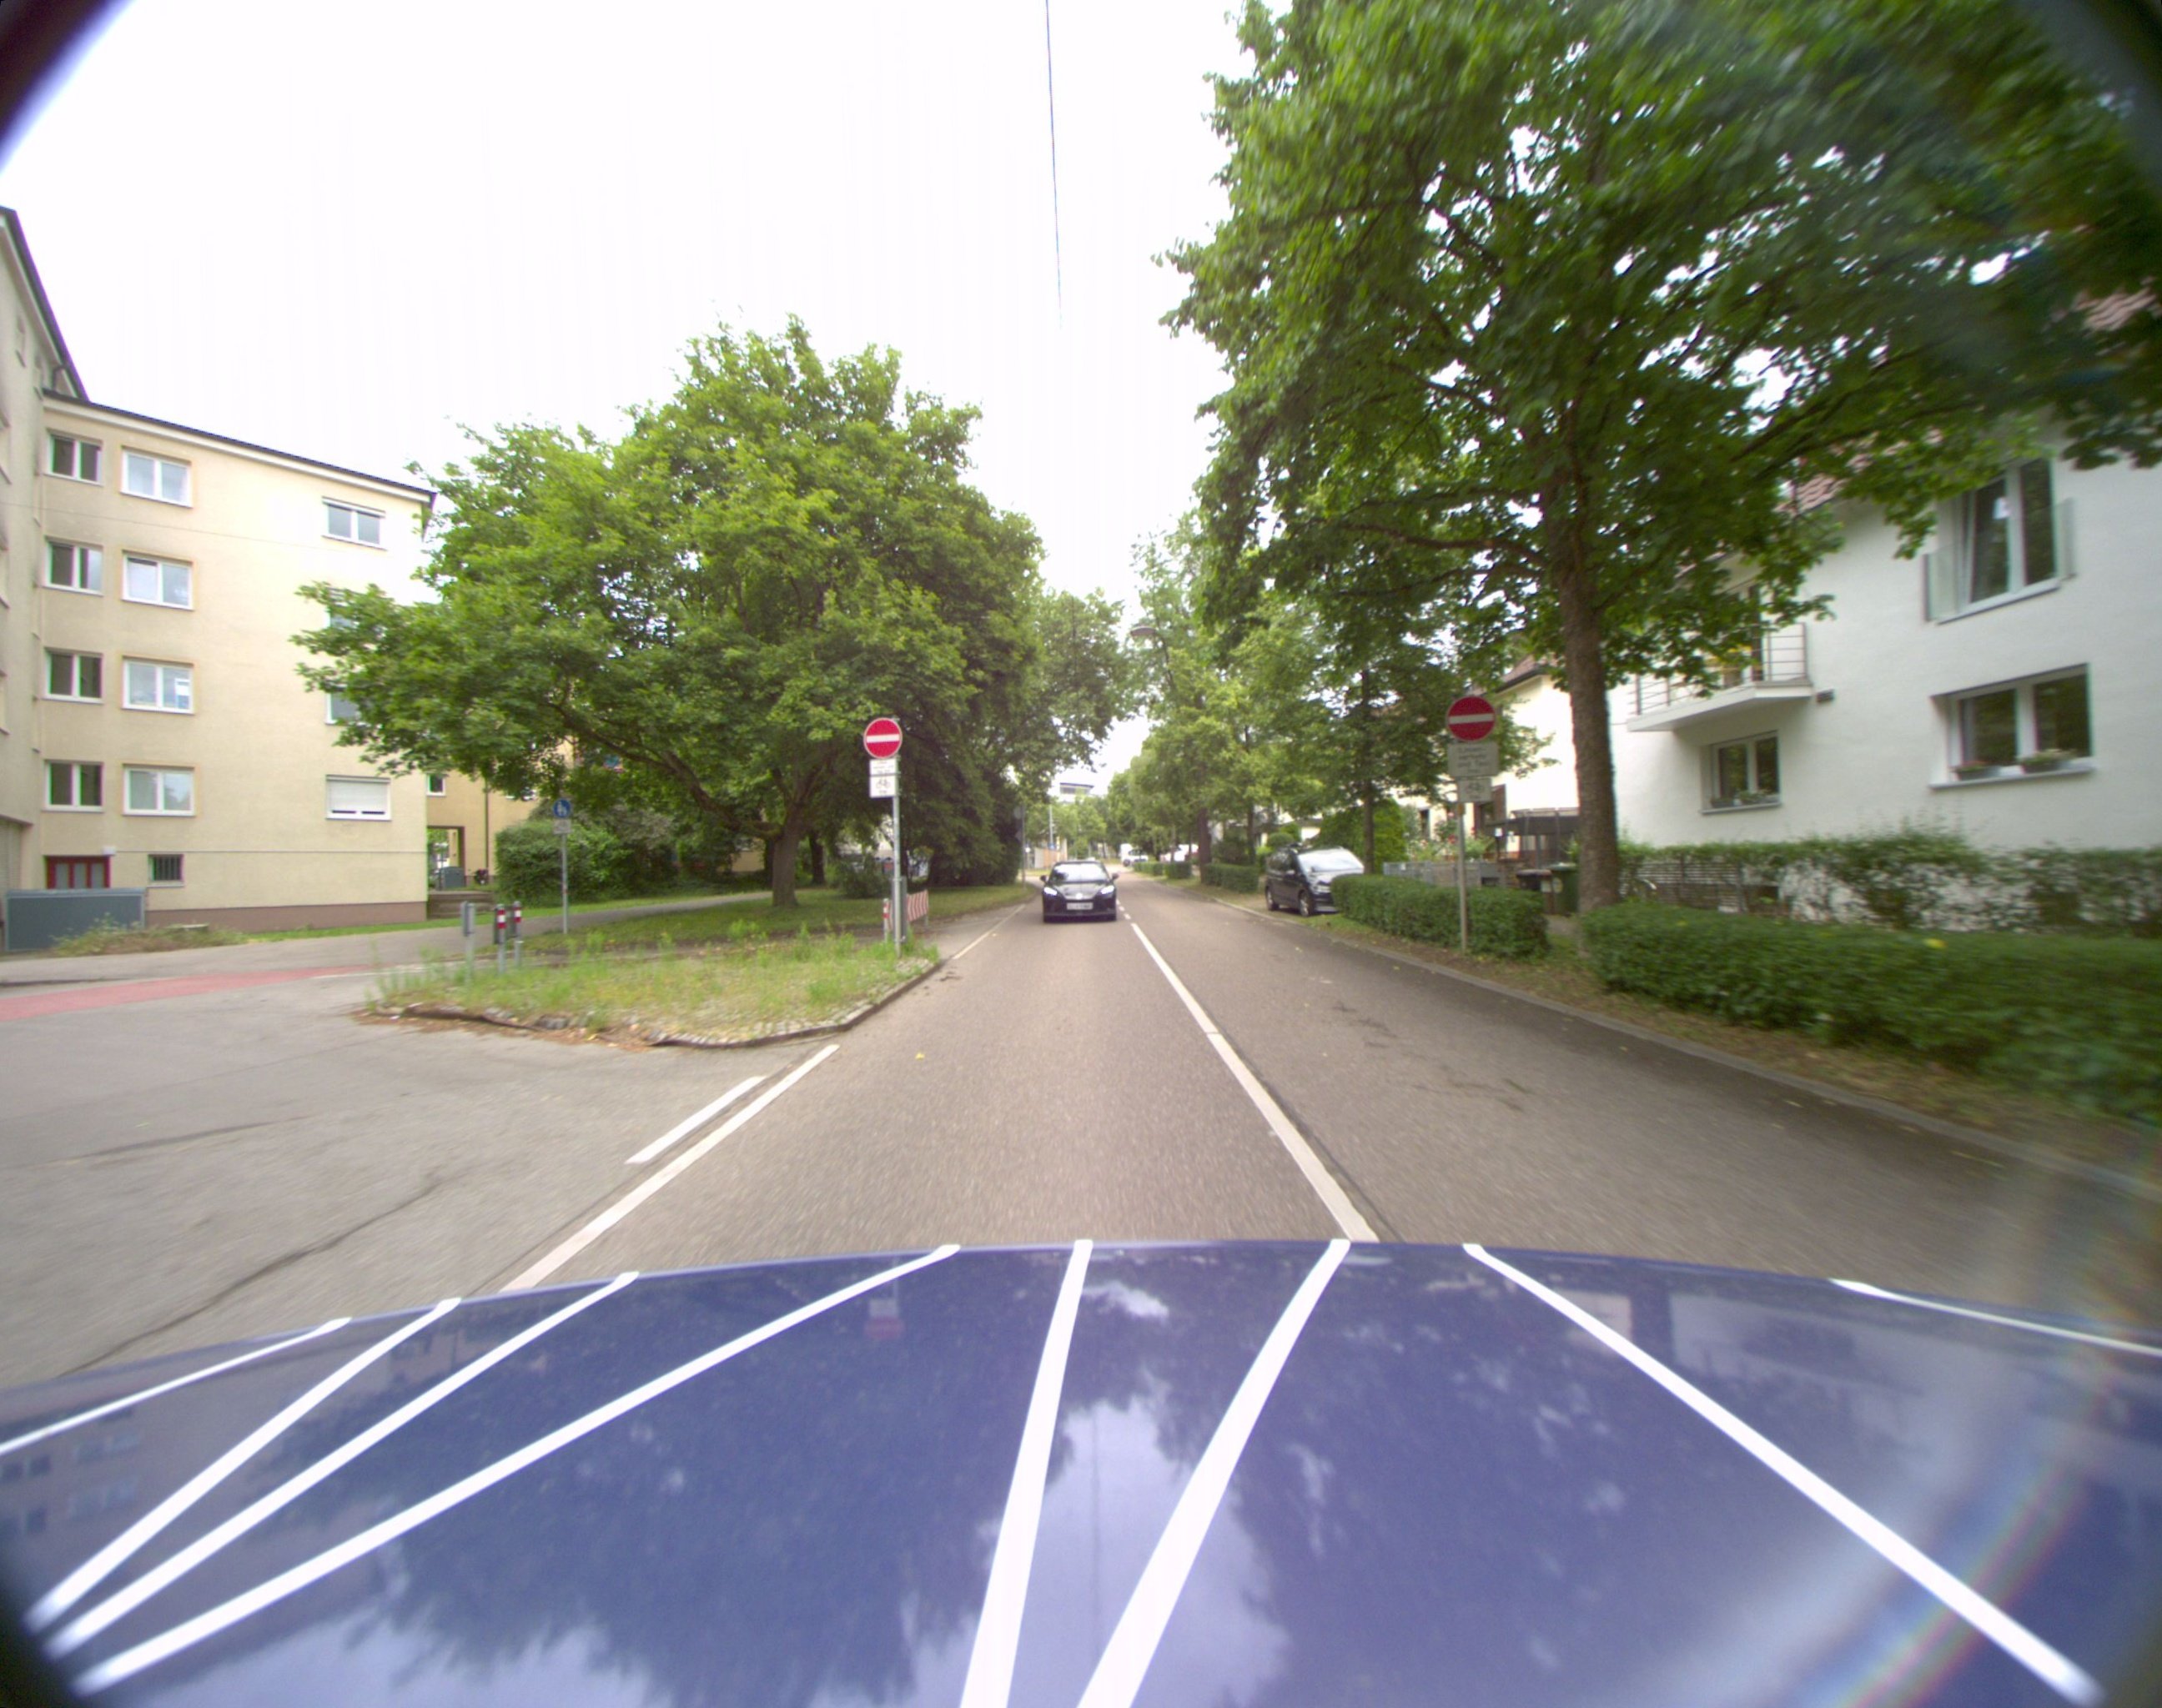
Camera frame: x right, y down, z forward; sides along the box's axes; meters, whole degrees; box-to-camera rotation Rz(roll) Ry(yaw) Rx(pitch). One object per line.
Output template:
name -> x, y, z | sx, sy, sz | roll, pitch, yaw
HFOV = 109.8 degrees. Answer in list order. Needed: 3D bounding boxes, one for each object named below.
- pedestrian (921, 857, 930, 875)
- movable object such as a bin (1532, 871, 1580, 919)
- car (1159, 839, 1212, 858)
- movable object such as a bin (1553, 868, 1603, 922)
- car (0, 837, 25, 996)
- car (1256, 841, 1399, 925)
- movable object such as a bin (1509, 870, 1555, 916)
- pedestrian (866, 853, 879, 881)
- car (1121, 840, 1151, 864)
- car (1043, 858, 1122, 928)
pedestrian -> -12.180, 0.924, 59.656 | 0.650, 1.409, 0.649 | -1, 0, -10
movable object such as a bin -> 9.702, 0.829, 15.543 | 0.561, 0.935, 0.640 | -1, 0, -5
car -> 13.119, -0.705, 95.033 | 6.377, 2.334, 1.973 | -1, 0, -21
movable object such as a bin -> 9.741, 0.792, 14.894 | 0.561, 1.019, 0.601 | -1, 1, -5
car -> -17.532, 0.932, 9.011 | 5.335, 2.285, 2.287 | -1, 0, -32
car -> 5.847, 0.635, 18.644 | 1.830, 1.743, 4.452 | -2, 0, -3
movable object such as a bin -> 9.637, 0.823, 16.248 | 0.561, 0.935, 0.640 | -1, 0, -5
pedestrian -> -12.304, 0.760, 44.776 | 0.650, 1.651, 0.649 | -1, 1, -10
car -> 7.594, -0.315, 105.840 | 2.437, 3.256, 7.784 | -1, 1, -8
car -> 0.068, 0.930, 20.039 | 1.799, 1.552, 4.471 | -2, 0, 1
